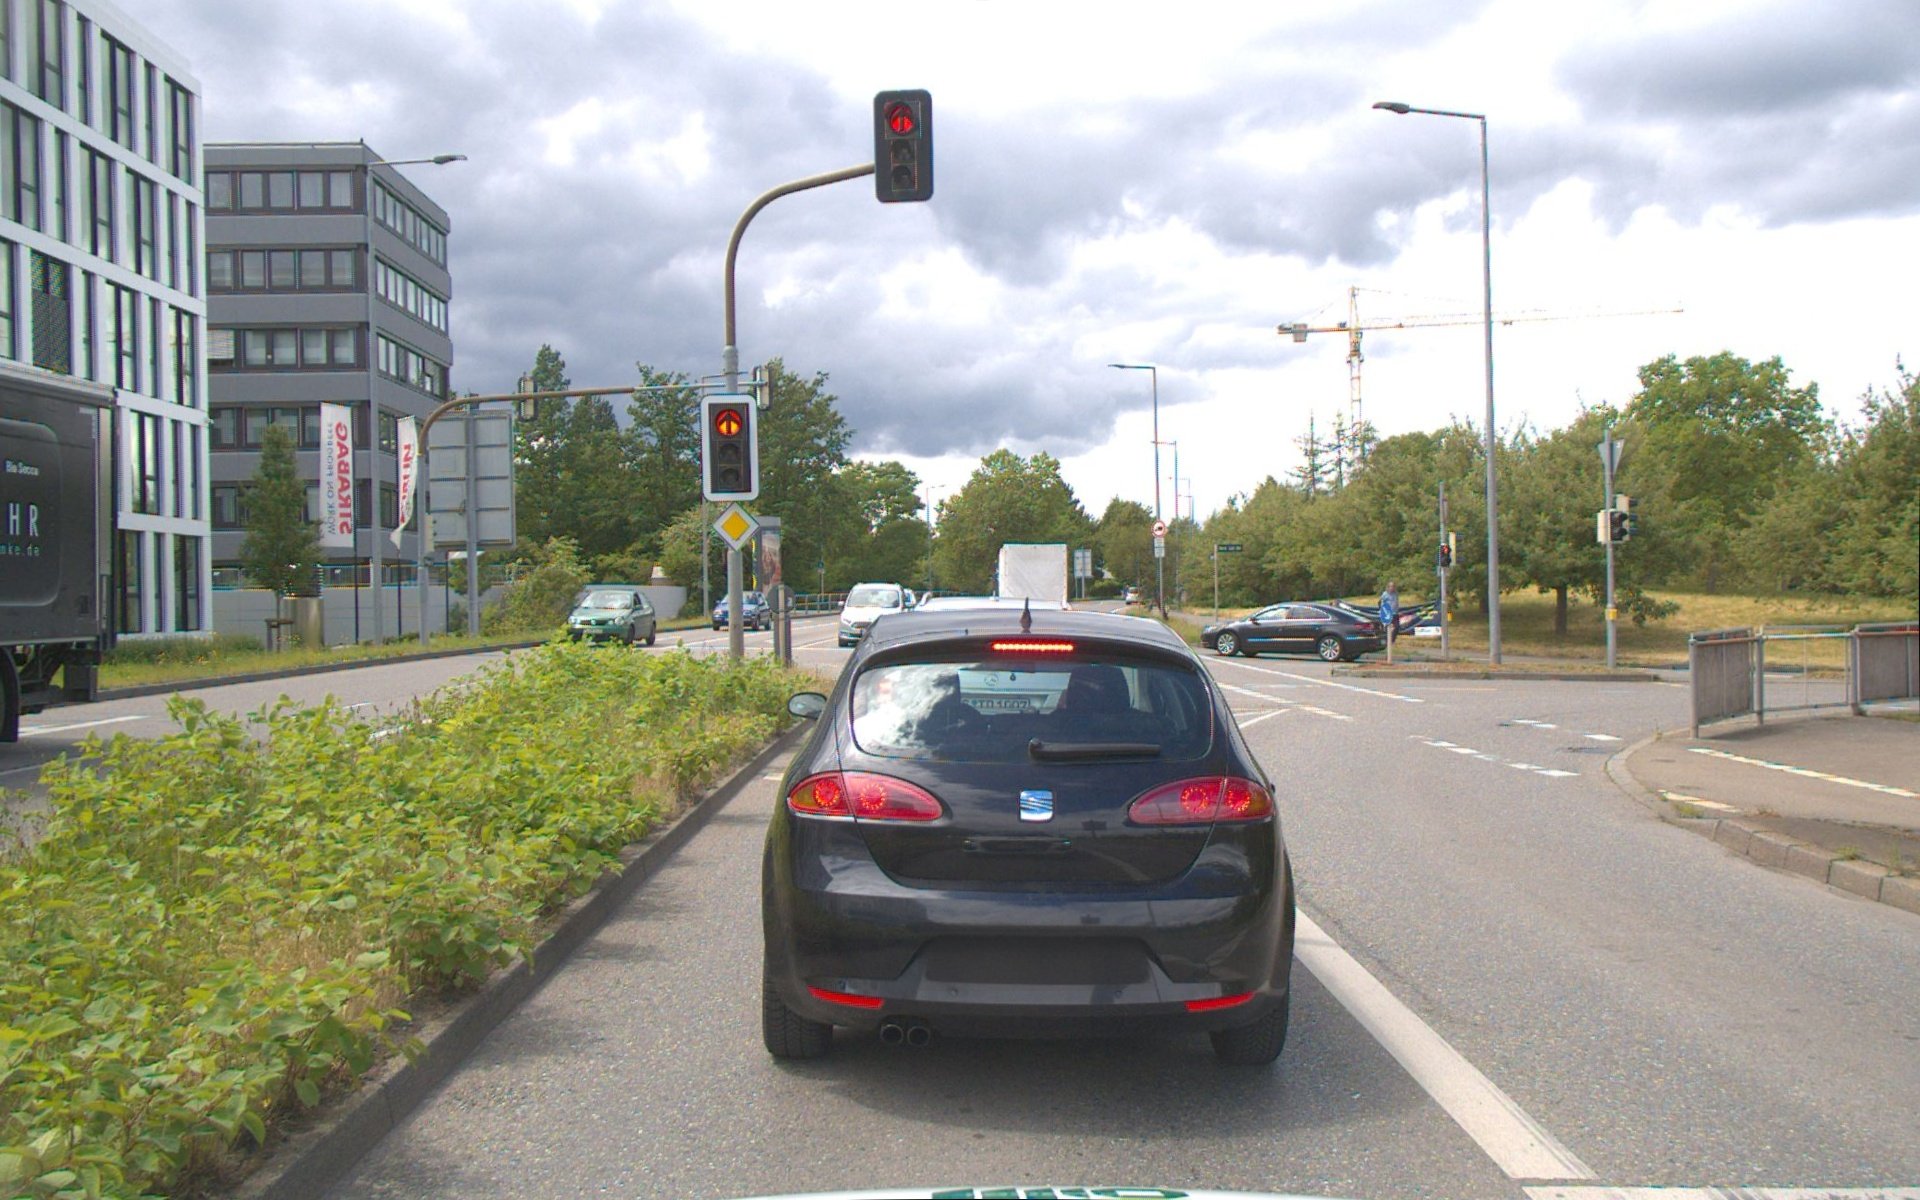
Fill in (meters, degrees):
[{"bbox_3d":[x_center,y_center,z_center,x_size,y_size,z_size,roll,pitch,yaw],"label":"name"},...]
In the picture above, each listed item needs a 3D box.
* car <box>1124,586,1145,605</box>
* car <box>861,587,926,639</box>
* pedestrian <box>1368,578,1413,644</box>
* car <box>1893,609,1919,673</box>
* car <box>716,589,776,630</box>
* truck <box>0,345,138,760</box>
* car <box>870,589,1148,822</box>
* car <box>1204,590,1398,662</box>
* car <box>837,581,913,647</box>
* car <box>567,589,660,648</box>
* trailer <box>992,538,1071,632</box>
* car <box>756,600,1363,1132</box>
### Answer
[{"bbox_3d":[15.979,-0.417,151.507,1.631,1.624,4.003,1,0,10],"label":"car"},{"bbox_3d":[-2.065,0.379,52.244,1.625,1.545,4.086,1,1,3],"label":"car"},{"bbox_3d":[12.126,0.299,46.631,0.709,1.824,1.034,1,-1,-27],"label":"pedestrian"},{"bbox_3d":[23.890,0.973,38.093,3.797,1.471,1.761,1,0,5],"label":"car"},{"bbox_3d":[-7.864,0.322,60.957,1.521,1.444,3.897,1,1,3],"label":"car"},{"bbox_3d":[-9.874,-0.392,11.814,3.102,3.579,9.528,0,0,1],"label":"truck"},{"bbox_3d":[0.334,0.696,12.679,1.797,1.493,3.751,1,0,0],"label":"car"},{"bbox_3d":[8.570,0.609,41.612,4.373,1.593,1.996,2,1,30],"label":"car"},{"bbox_3d":[-2.320,0.346,46.162,1.783,1.716,4.646,1,1,1],"label":"car"},{"bbox_3d":[-9.030,0.447,43.371,1.572,1.457,3.753,0,0,1],"label":"car"},{"bbox_3d":[2.471,-0.481,58.587,2.440,3.127,5.585,1,0,-1],"label":"trailer"},{"bbox_3d":[0.261,0.745,6.336,1.676,1.442,3.459,1,0,-1],"label":"car"}]
